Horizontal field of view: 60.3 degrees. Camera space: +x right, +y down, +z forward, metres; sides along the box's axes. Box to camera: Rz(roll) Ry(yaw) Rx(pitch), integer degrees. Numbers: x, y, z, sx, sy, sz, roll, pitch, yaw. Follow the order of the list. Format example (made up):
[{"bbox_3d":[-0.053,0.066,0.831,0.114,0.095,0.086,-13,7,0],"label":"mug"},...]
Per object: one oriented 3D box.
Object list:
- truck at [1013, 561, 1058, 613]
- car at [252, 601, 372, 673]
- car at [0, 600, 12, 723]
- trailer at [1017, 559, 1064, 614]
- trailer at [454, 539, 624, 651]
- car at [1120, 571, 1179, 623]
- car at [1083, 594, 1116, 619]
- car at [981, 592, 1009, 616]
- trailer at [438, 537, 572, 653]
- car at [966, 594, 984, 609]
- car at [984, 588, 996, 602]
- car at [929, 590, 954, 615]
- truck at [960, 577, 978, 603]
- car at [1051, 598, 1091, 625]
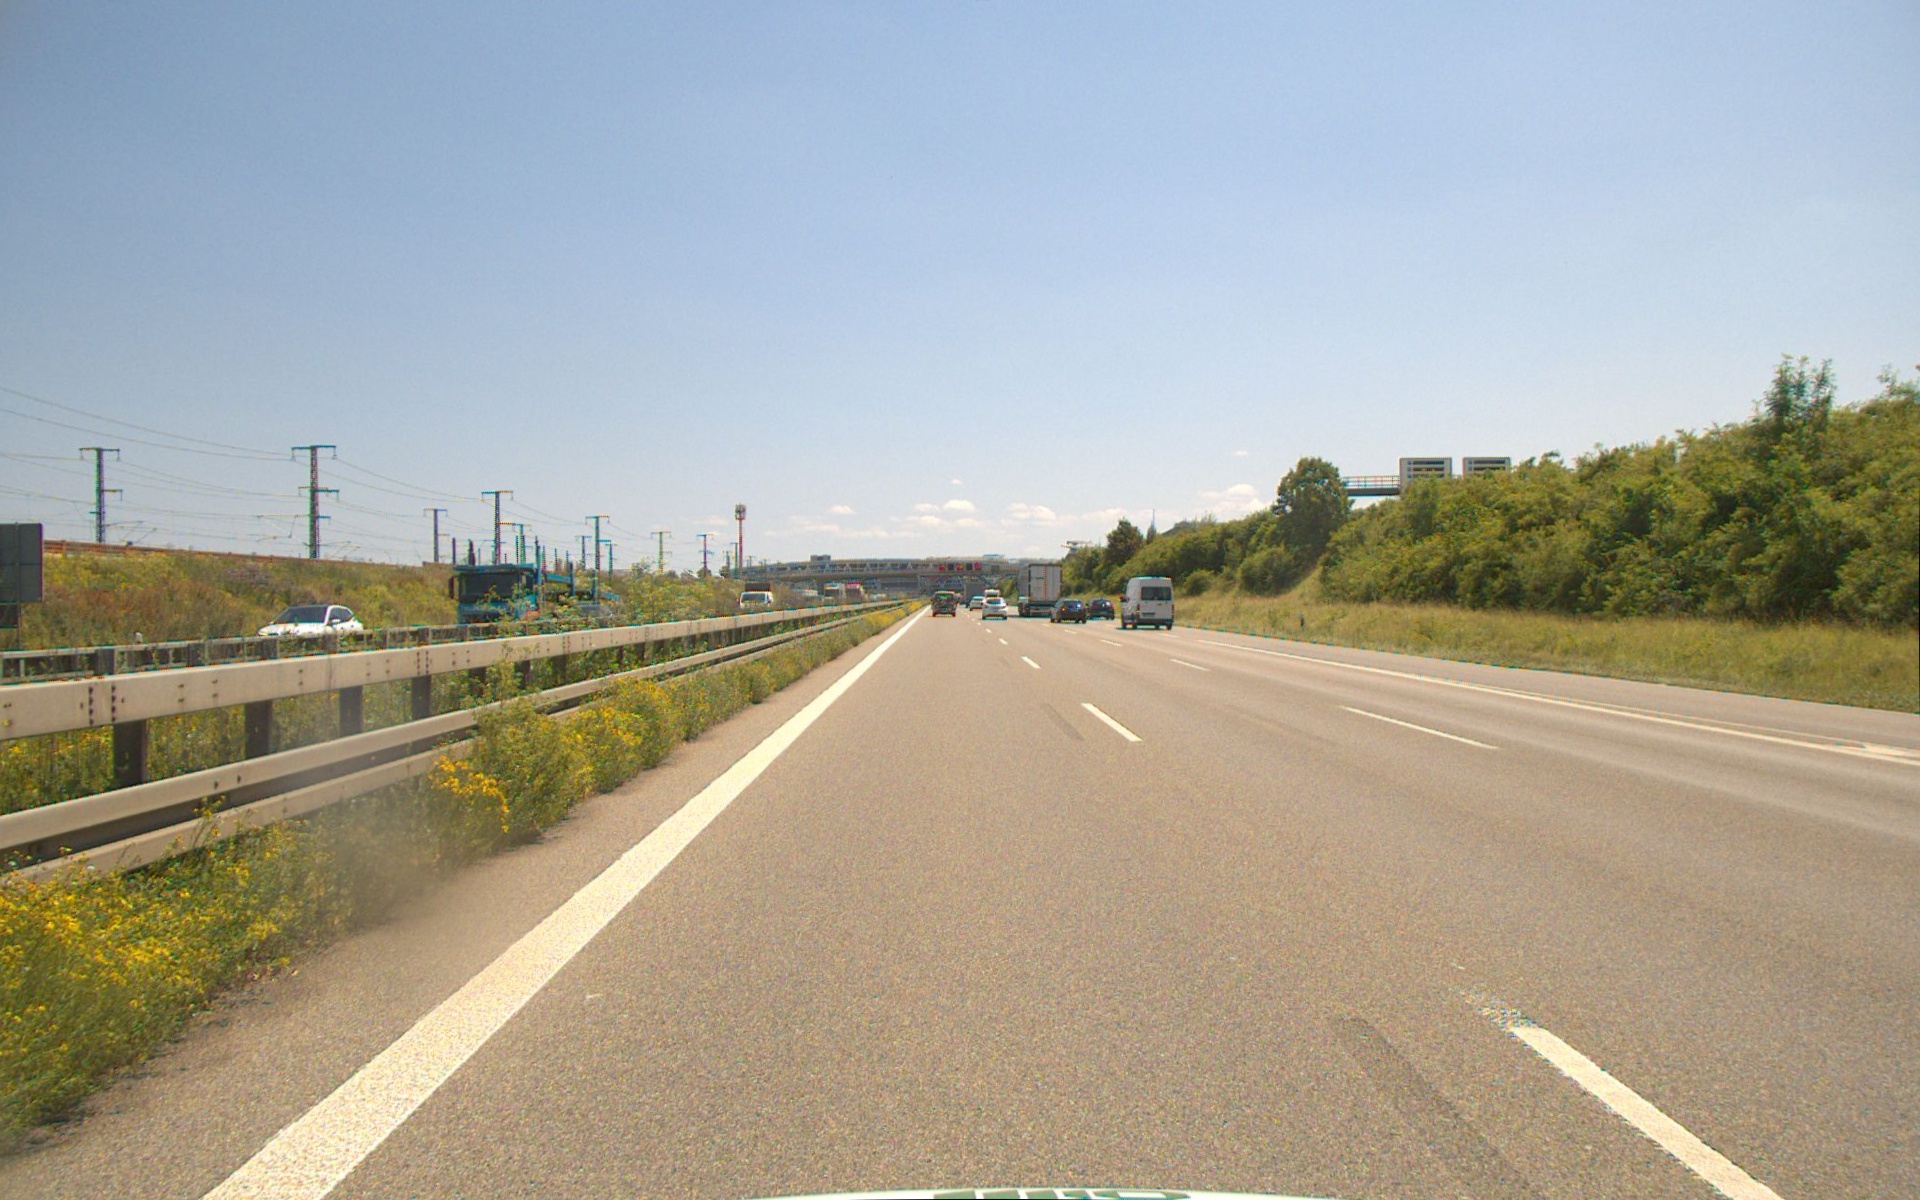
[{"bbox_3d":[6.174,-1.077,136.717,3.112,4.130,9.438,-1,0,0],"label":"truck"},{"bbox_3d":[-19.986,1.147,51.204,1.953,2.049,4.494,-2,-1,-1],"label":"car"},{"bbox_3d":[-15.212,0.954,22.281,1.881,1.832,5.195,-2,0,-1],"label":"car"},{"bbox_3d":[6.231,-1.046,129.123,3.112,4.130,9.438,-1,0,0],"label":"trailer"},{"bbox_3d":[-16.541,-0.201,66.565,2.989,3.935,15.974,0,0,-1],"label":"trailer"},{"bbox_3d":[9.610,-0.162,84.137,2.228,2.572,5.398,0,0,-2],"label":"car"},{"bbox_3d":[9.941,0.483,118.045,1.953,1.624,3.999,1,-1,-1],"label":"car"},{"bbox_3d":[2.393,0.289,112.684,1.841,1.553,4.001,1,-1,2],"label":"car"},{"bbox_3d":[-16.421,-0.183,60.204,2.989,3.935,7.202,0,0,-1],"label":"trailer"},{"bbox_3d":[1.634,0.134,177.475,1.842,1.553,4.000,1,-1,0],"label":"car"},{"bbox_3d":[4.668,-0.759,258.369,1.952,2.049,4.437,-1,0,1],"label":"car"},{"bbox_3d":[-1.380,0.167,122.957,1.842,1.806,3.999,-1,-1,-1],"label":"car"},{"bbox_3d":[1.244,-1.291,224.593,2.307,3.476,6.056,0,0,0],"label":"truck"},{"bbox_3d":[6.799,0.703,101.588,1.954,1.534,3.997,2,-1,-3],"label":"car"}]
